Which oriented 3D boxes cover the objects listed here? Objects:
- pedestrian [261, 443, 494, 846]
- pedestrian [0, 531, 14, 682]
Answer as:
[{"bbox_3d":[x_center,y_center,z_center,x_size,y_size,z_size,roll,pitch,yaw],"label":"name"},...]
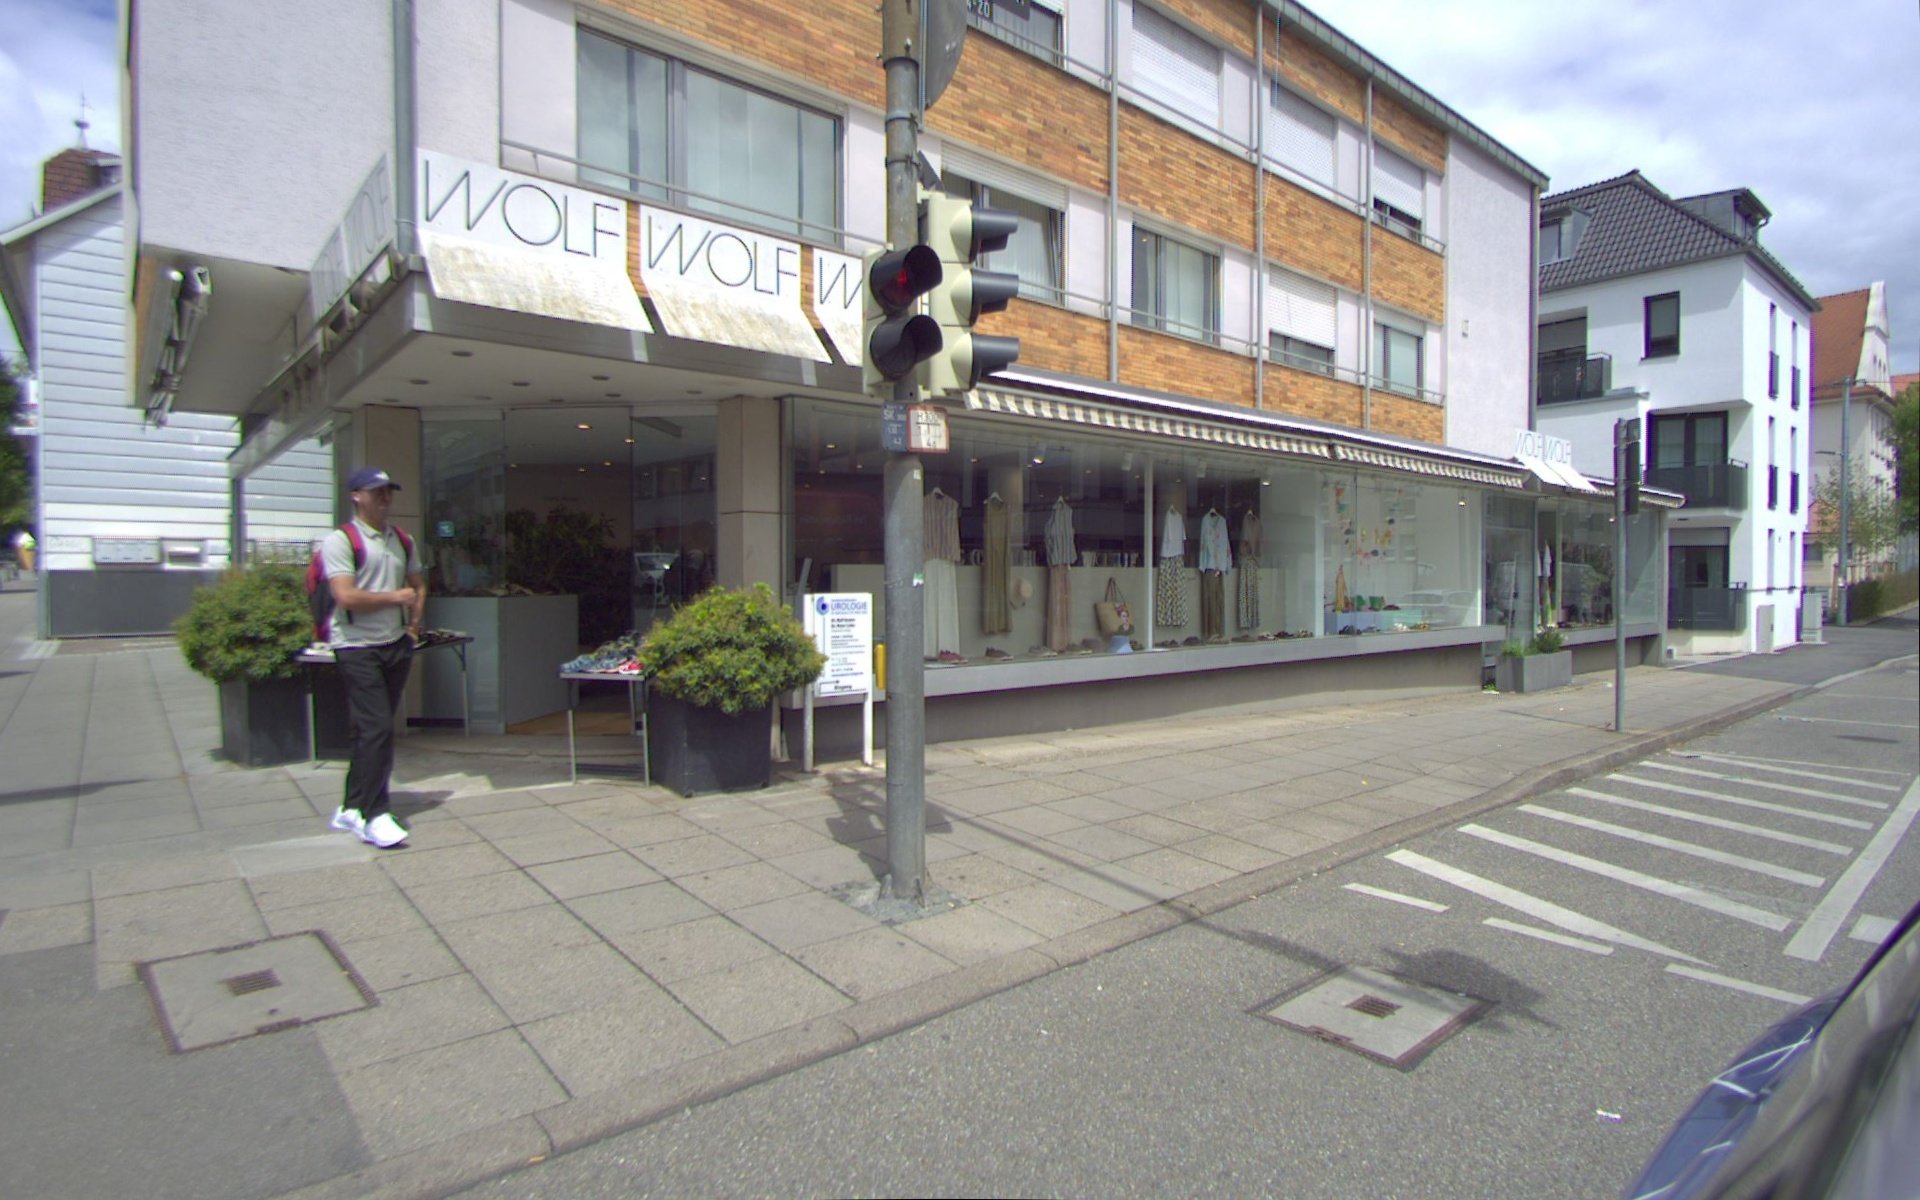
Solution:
[{"bbox_3d":[-2.900,0.182,5.085,0.605,1.836,0.772,4,3,17],"label":"pedestrian"},{"bbox_3d":[-10.382,0.078,10.609,0.585,1.578,0.523,-1,1,33],"label":"pedestrian"}]
